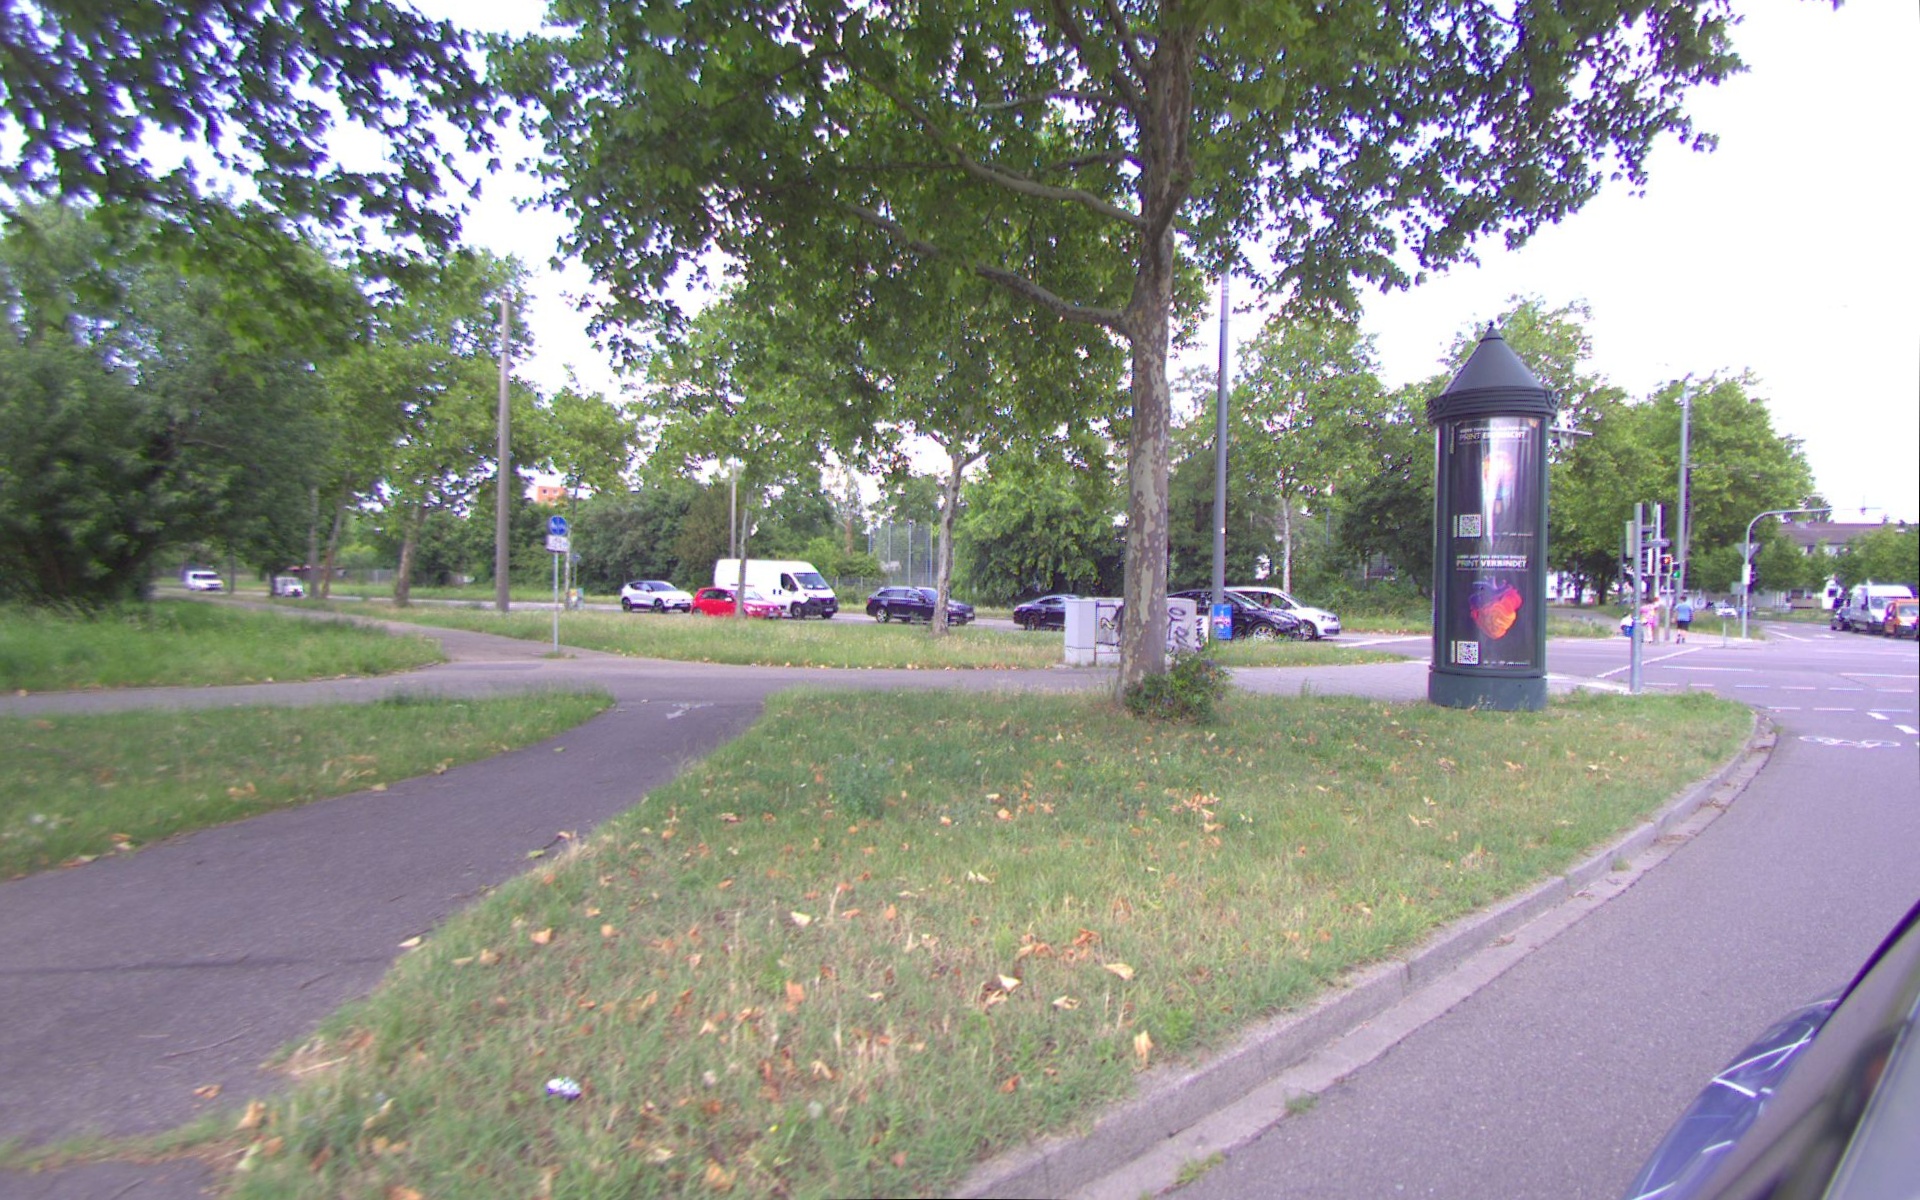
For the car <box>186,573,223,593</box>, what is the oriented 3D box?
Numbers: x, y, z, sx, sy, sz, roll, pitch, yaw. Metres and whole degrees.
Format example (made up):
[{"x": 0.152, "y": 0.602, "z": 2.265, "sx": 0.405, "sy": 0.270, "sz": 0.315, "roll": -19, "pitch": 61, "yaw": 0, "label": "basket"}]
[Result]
[{"x": -70.363, "y": -1.585, "z": 94.257, "sx": 3.984, "sy": 1.727, "sz": 1.970, "roll": 2, "pitch": 1, "yaw": 42, "label": "car"}]

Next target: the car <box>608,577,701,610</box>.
[{"x": -15.270, "y": -0.338, "z": 50.549, "sx": 4.654, "sy": 1.532, "sz": 1.977, "roll": 1, "pitch": 2, "yaw": 34, "label": "car"}]

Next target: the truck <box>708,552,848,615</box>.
[{"x": -8.133, "y": -0.746, "z": 44.944, "sx": 6.465, "sy": 2.628, "sz": 2.189, "roll": 1, "pitch": 1, "yaw": 35, "label": "truck"}]

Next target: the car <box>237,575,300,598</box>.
[{"x": -48.477, "y": -0.967, "z": 70.957, "sx": 4.650, "sy": 1.532, "sz": 1.978, "roll": 1, "pitch": 2, "yaw": 32, "label": "car"}]

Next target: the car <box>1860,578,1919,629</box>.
[{"x": 49.143, "y": 0.141, "z": 52.946, "sx": 2.224, "sy": 2.538, "sz": 5.658, "roll": 0, "pitch": 0, "yaw": 33, "label": "car"}]

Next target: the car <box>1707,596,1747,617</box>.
[{"x": 64.773, "y": 0.531, "z": 85.502, "sx": 1.849, "sy": 1.665, "sz": 4.198, "roll": 0, "pitch": 1, "yaw": 25, "label": "car"}]

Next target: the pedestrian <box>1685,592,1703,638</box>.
[{"x": 24.491, "y": 0.495, "z": 33.776, "sx": 0.416, "sy": 1.527, "sz": 0.446, "roll": 1, "pitch": 0, "yaw": 32, "label": "pedestrian"}]

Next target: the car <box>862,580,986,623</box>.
[{"x": -1.449, "y": 0.007, "z": 39.947, "sx": 4.654, "sy": 1.532, "sz": 1.977, "roll": 1, "pitch": 2, "yaw": 34, "label": "car"}]

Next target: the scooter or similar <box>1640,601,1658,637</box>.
[{"x": 23.409, "y": 0.643, "z": 34.378, "sx": 0.392, "sy": 1.175, "sz": 1.105, "roll": 1, "pitch": 1, "yaw": 29, "label": "scooter or similar"}]

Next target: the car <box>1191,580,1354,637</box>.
[{"x": 9.975, "y": 0.211, "z": 32.445, "sx": 4.654, "sy": 1.630, "sz": 1.977, "roll": 1, "pitch": 2, "yaw": 34, "label": "car"}]

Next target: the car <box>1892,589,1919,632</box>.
[{"x": 45.502, "y": 0.460, "z": 47.603, "sx": 1.784, "sy": 1.959, "sz": 4.315, "roll": 0, "pitch": 0, "yaw": 34, "label": "car"}]

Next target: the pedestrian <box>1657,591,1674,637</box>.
[{"x": 23.839, "y": 0.478, "z": 34.210, "sx": 0.416, "sy": 1.527, "sz": 0.388, "roll": 1, "pitch": 0, "yaw": 32, "label": "pedestrian"}]

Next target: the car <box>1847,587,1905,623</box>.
[{"x": 52.182, "y": 0.274, "z": 57.731, "sx": 1.783, "sy": 1.959, "sz": 4.316, "roll": 0, "pitch": 0, "yaw": 33, "label": "car"}]

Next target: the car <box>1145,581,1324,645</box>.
[{"x": 7.931, "y": 0.311, "z": 29.382, "sx": 4.655, "sy": 1.630, "sz": 1.976, "roll": 1, "pitch": 2, "yaw": 34, "label": "car"}]

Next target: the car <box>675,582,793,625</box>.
[{"x": -9.065, "y": 0.097, "z": 40.471, "sx": 4.654, "sy": 1.532, "sz": 1.977, "roll": 1, "pitch": 2, "yaw": 34, "label": "car"}]

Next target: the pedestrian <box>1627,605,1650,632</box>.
[{"x": 27.198, "y": 0.743, "z": 40.586, "sx": 0.718, "sy": 1.047, "sz": 0.891, "roll": 1, "pitch": 1, "yaw": 34, "label": "pedestrian"}]

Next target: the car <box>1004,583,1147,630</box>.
[{"x": 4.083, "y": 0.191, "z": 35.996, "sx": 4.716, "sy": 1.487, "sz": 1.977, "roll": 1, "pitch": 2, "yaw": 34, "label": "car"}]
